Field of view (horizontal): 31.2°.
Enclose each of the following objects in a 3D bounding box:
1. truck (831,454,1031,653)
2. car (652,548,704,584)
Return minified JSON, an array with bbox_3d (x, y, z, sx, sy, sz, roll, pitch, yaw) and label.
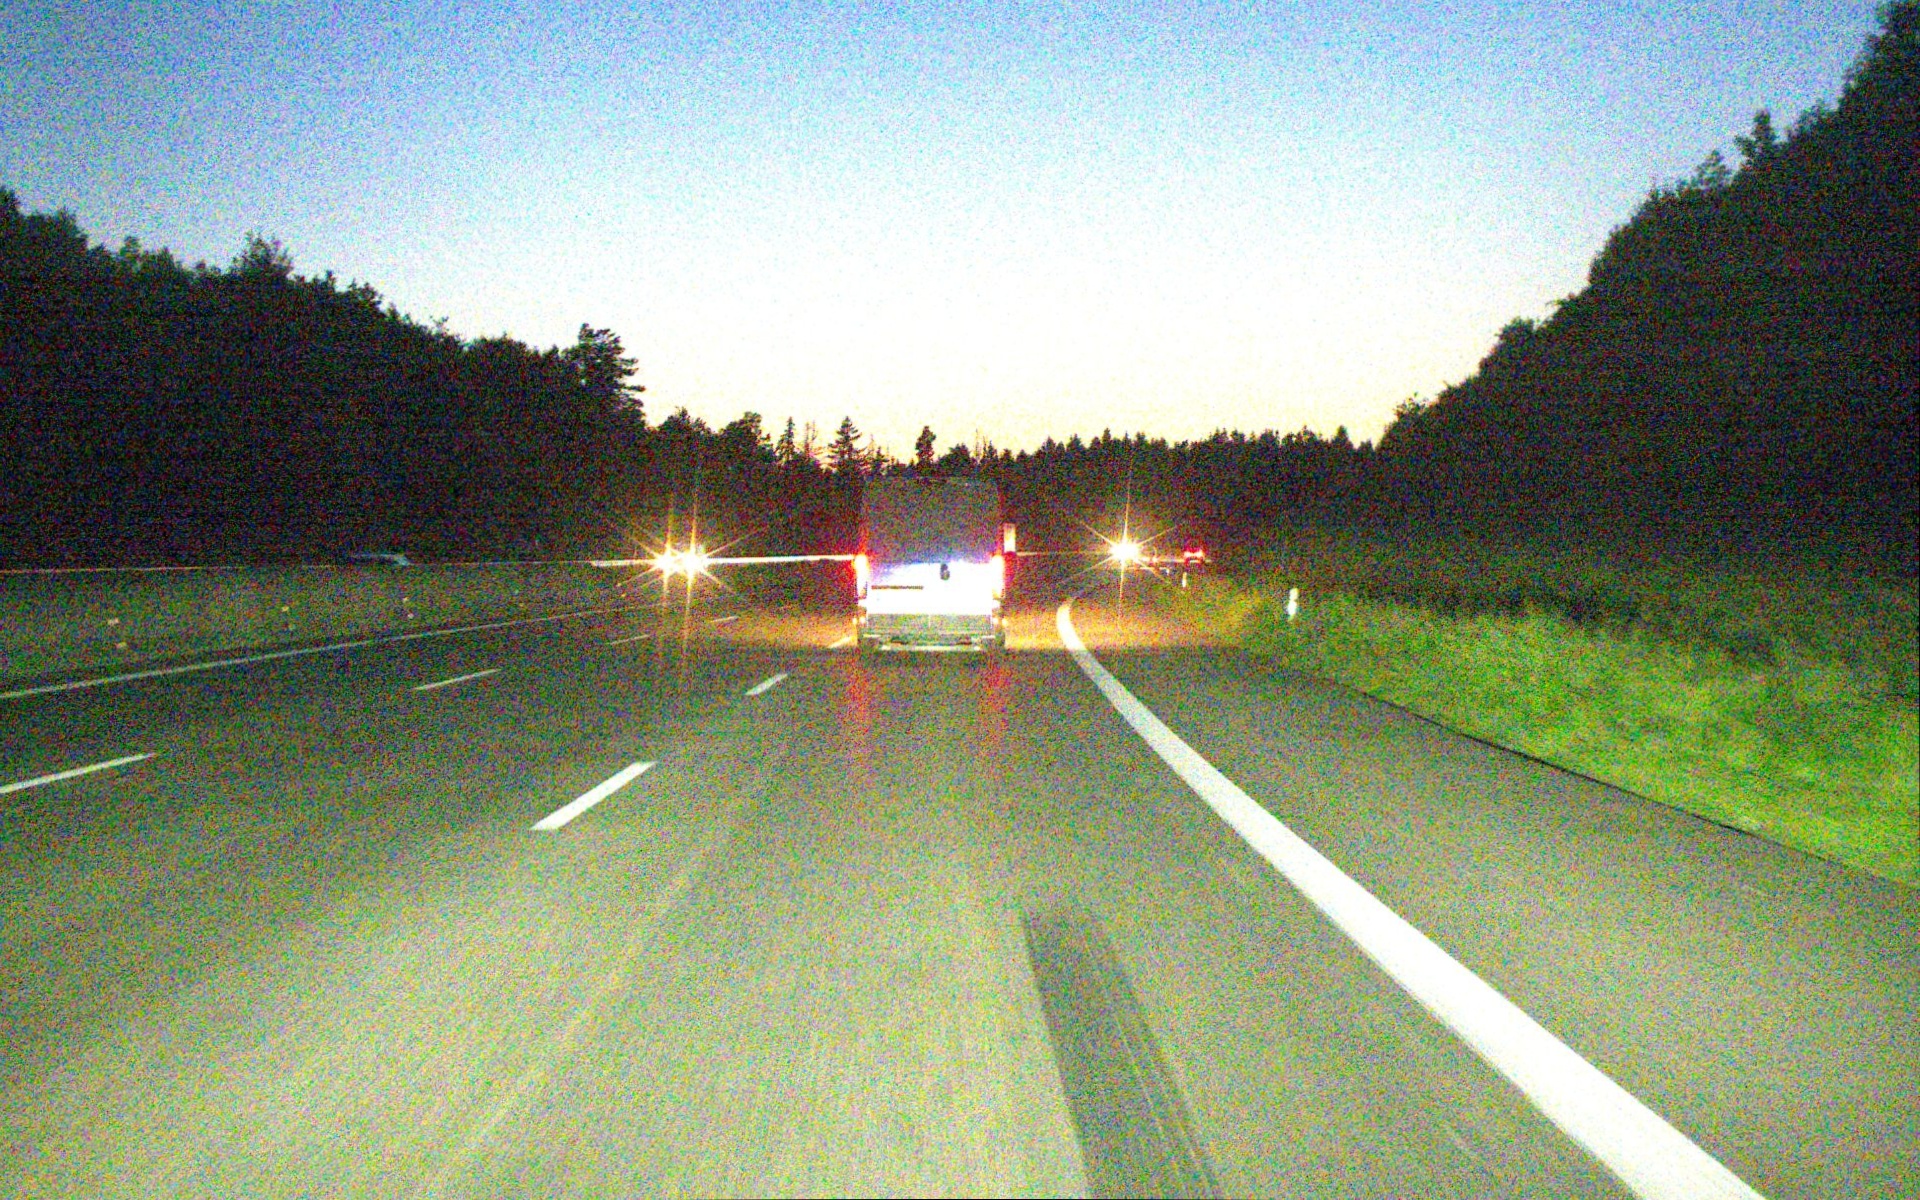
[{"bbox_3d":[-0.533,-0.649,49.954,2.630,2.615,8.685,0,0,-2],"label":"truck"},{"bbox_3d":[-14.247,-1.711,173.747,1.994,1.780,4.399,0,0,3],"label":"car"}]
